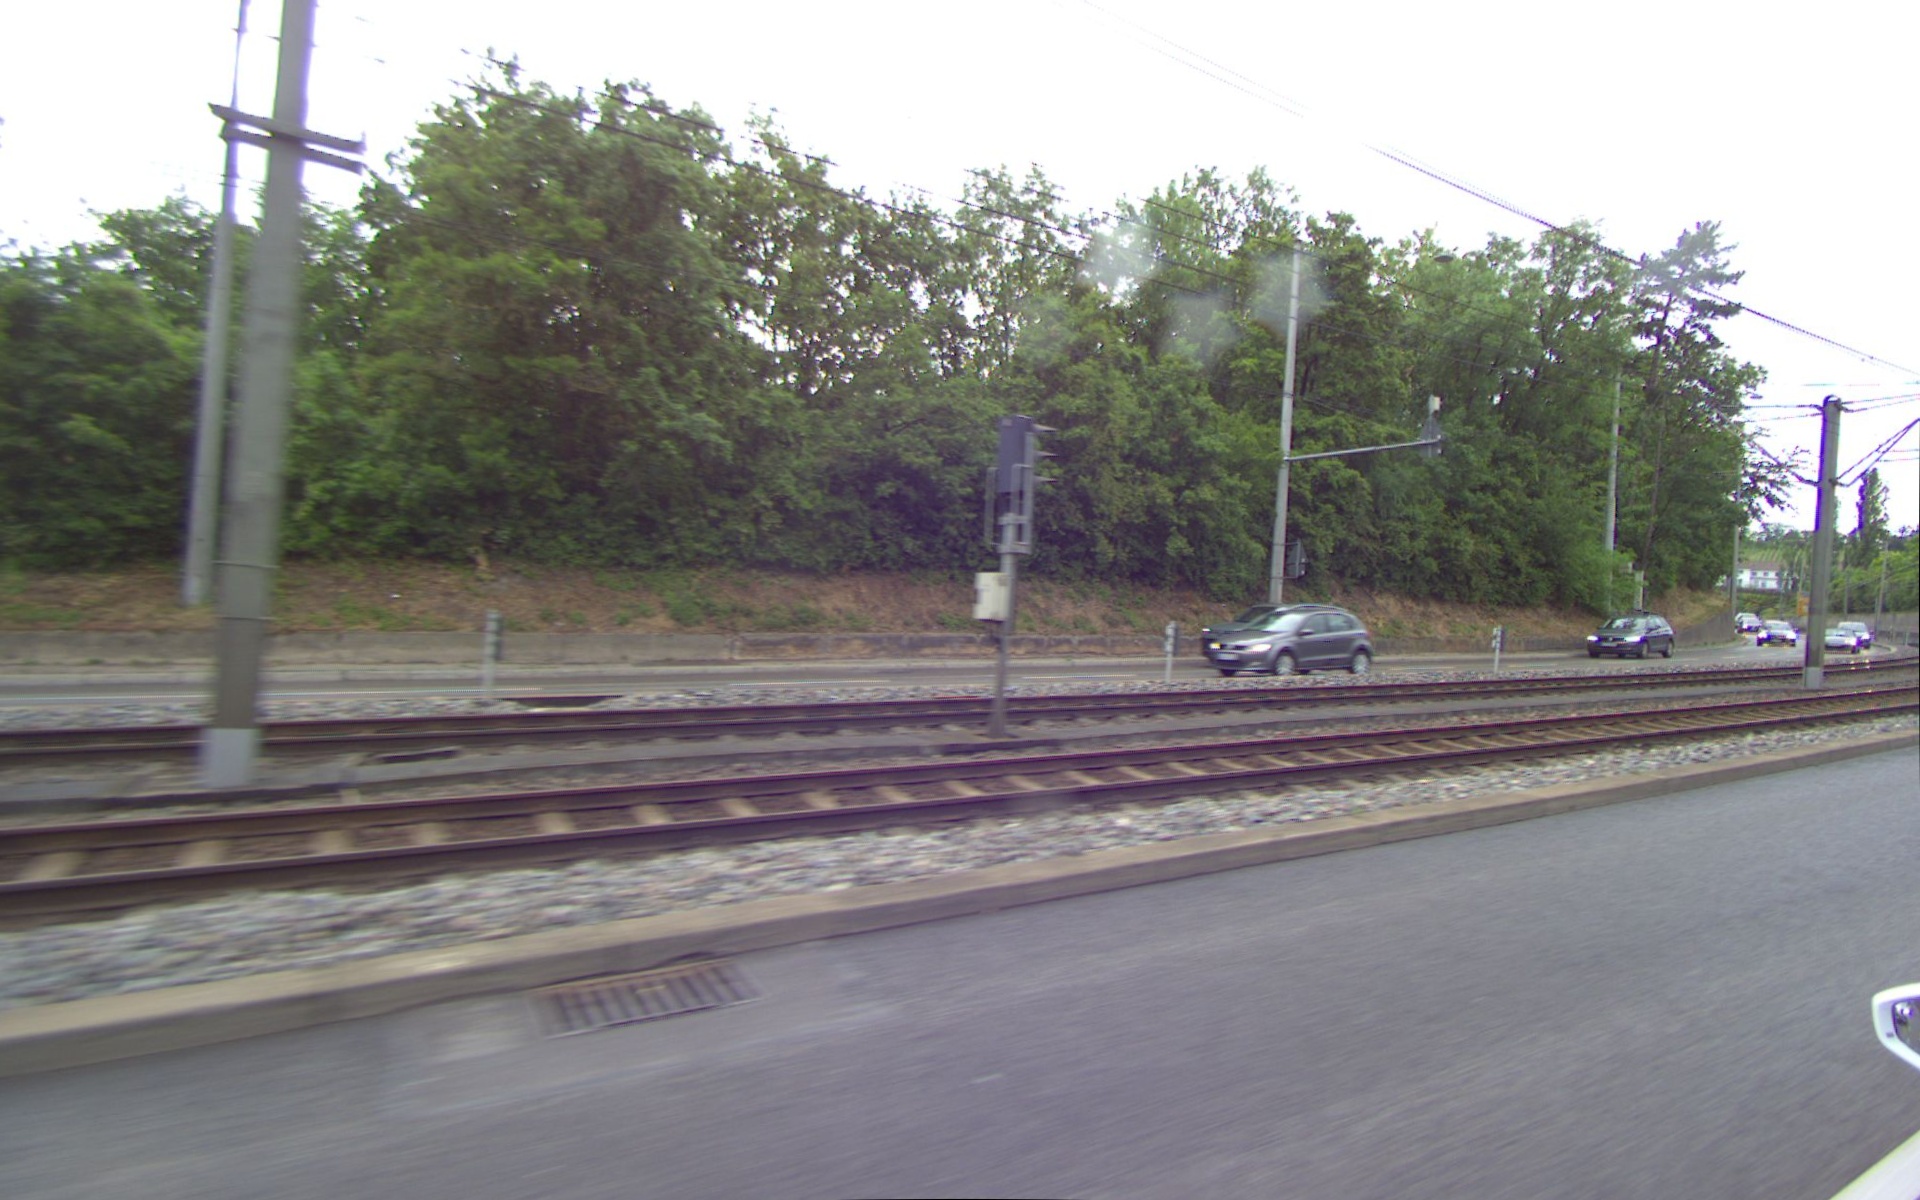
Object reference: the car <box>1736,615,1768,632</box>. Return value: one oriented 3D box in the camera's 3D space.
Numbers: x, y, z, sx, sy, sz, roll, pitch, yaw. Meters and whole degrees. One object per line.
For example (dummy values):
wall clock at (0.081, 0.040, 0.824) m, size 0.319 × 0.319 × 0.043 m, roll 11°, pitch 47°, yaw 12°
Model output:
car at (75.945, 2.226, 96.308) m, size 1.900 × 1.624 × 4.209 m, roll 0°, pitch -1°, yaw 31°

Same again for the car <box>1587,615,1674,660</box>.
car at (25.837, 1.422, 38.634) m, size 4.376 × 1.629 × 1.692 m, roll 1°, pitch -2°, yaw -41°

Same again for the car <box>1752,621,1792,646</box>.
car at (49.682, 2.017, 61.428) m, size 1.795 × 1.481 × 4.637 m, roll 0°, pitch -1°, yaw 40°

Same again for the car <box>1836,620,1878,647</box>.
car at (52.282, 1.941, 58.597) m, size 1.518 × 1.511 × 3.607 m, roll -1°, pitch -2°, yaw 37°

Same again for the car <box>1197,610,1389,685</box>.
car at (7.145, 0.992, 21.458) m, size 3.986 × 1.434 × 1.697 m, roll 2°, pitch 0°, yaw -31°

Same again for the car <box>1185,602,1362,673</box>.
car at (8.140, 0.935, 25.959) m, size 4.688 × 1.692 × 1.774 m, roll 1°, pitch 0°, yaw -33°

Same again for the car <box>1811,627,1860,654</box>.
car at (43.447, 1.977, 49.810) m, size 3.933 × 1.274 × 1.528 m, roll 2°, pitch -2°, yaw -44°
